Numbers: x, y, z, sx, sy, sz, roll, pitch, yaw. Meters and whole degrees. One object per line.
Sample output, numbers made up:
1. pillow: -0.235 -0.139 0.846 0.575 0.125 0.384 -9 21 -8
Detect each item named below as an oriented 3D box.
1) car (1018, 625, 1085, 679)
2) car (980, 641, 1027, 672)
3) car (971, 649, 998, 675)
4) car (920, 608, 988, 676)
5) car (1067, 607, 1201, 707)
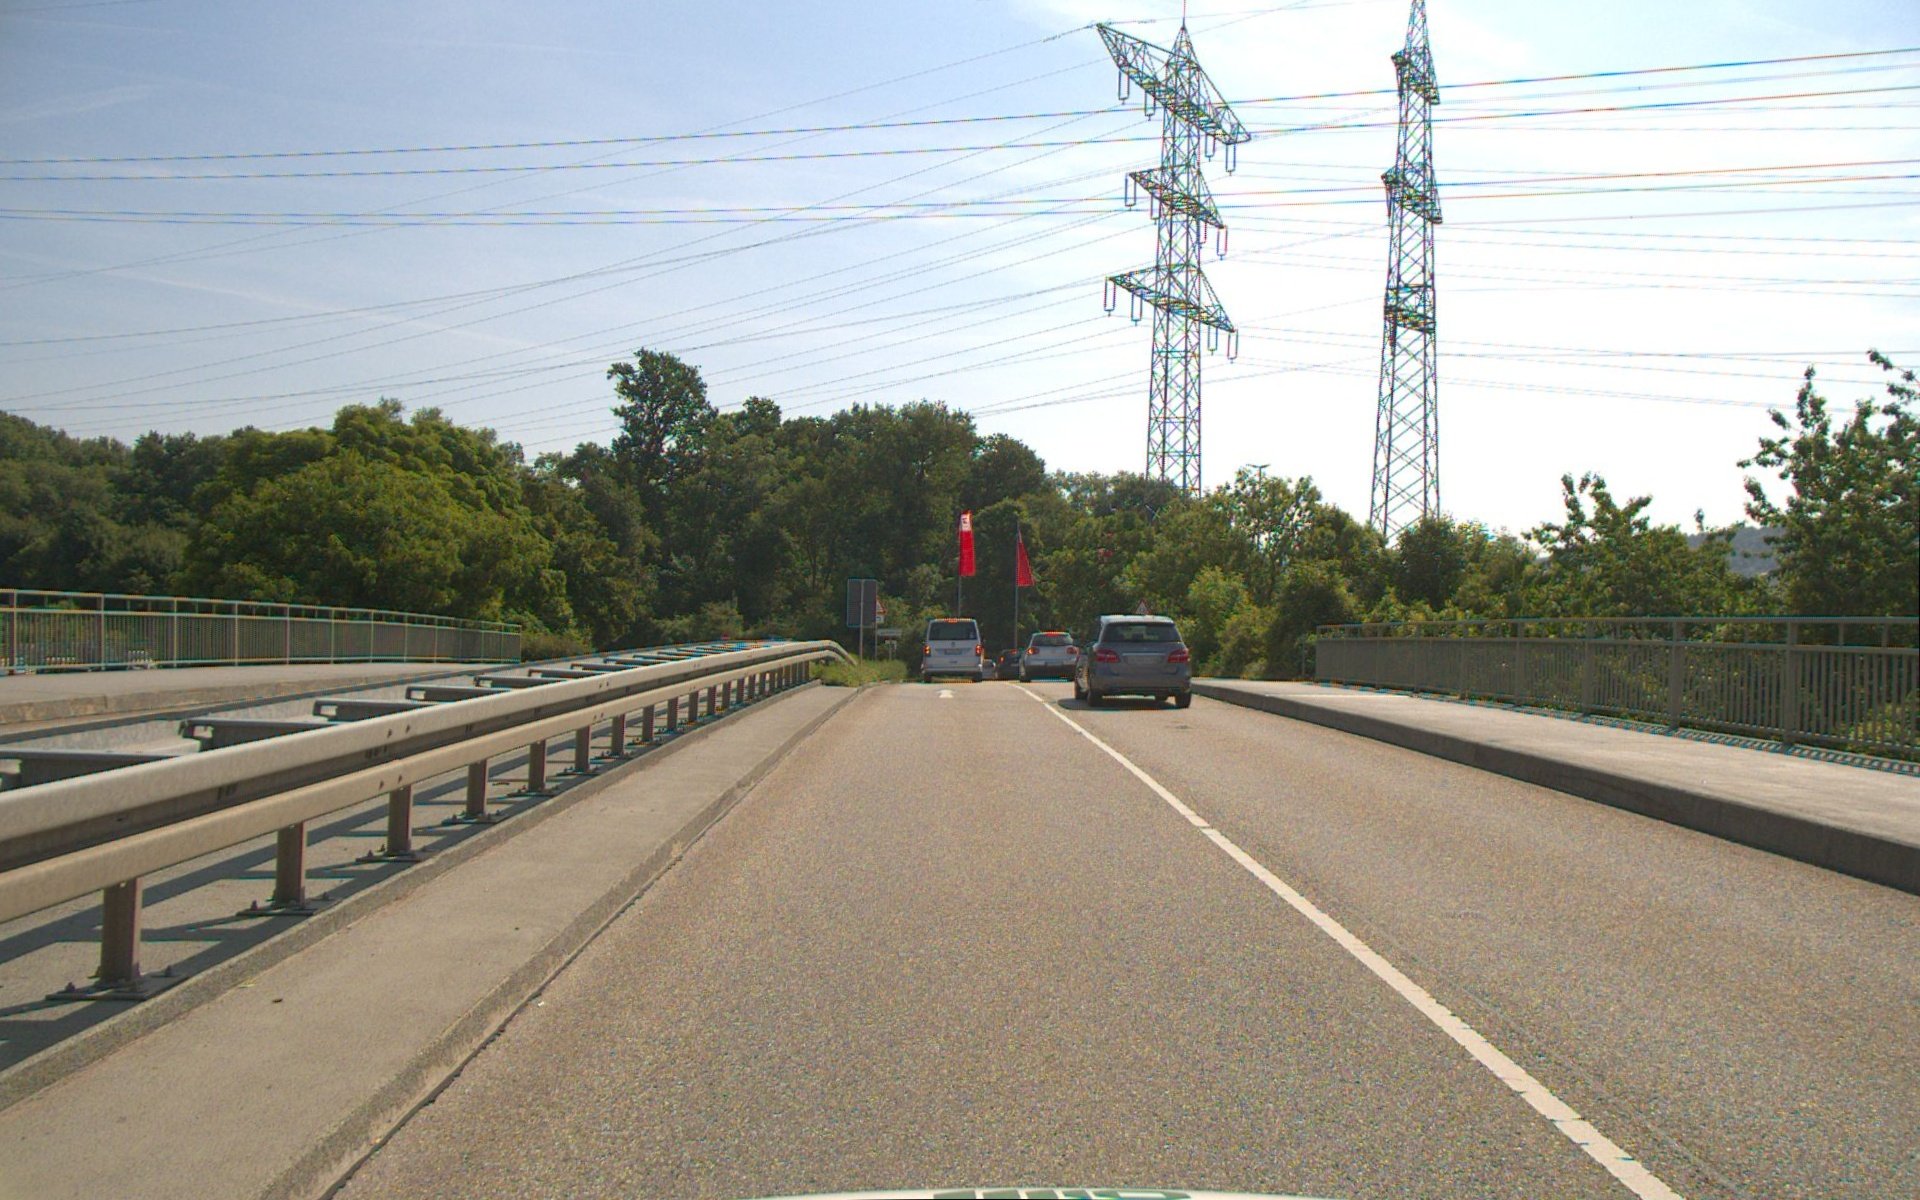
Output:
1. car: 2.766 1.624 50.754 1.818 1.556 4.143 0 -3 0
2. car: 2.069 2.662 77.798 1.735 1.355 3.743 1 -2 9
3. car: 1.488 3.850 102.216 1.518 1.581 3.553 1 -3 -1
4. car: -0.155 1.351 52.645 1.997 2.049 4.000 -1 -2 2
5. car: 3.007 0.949 29.356 1.819 1.556 4.143 0 1 -2
